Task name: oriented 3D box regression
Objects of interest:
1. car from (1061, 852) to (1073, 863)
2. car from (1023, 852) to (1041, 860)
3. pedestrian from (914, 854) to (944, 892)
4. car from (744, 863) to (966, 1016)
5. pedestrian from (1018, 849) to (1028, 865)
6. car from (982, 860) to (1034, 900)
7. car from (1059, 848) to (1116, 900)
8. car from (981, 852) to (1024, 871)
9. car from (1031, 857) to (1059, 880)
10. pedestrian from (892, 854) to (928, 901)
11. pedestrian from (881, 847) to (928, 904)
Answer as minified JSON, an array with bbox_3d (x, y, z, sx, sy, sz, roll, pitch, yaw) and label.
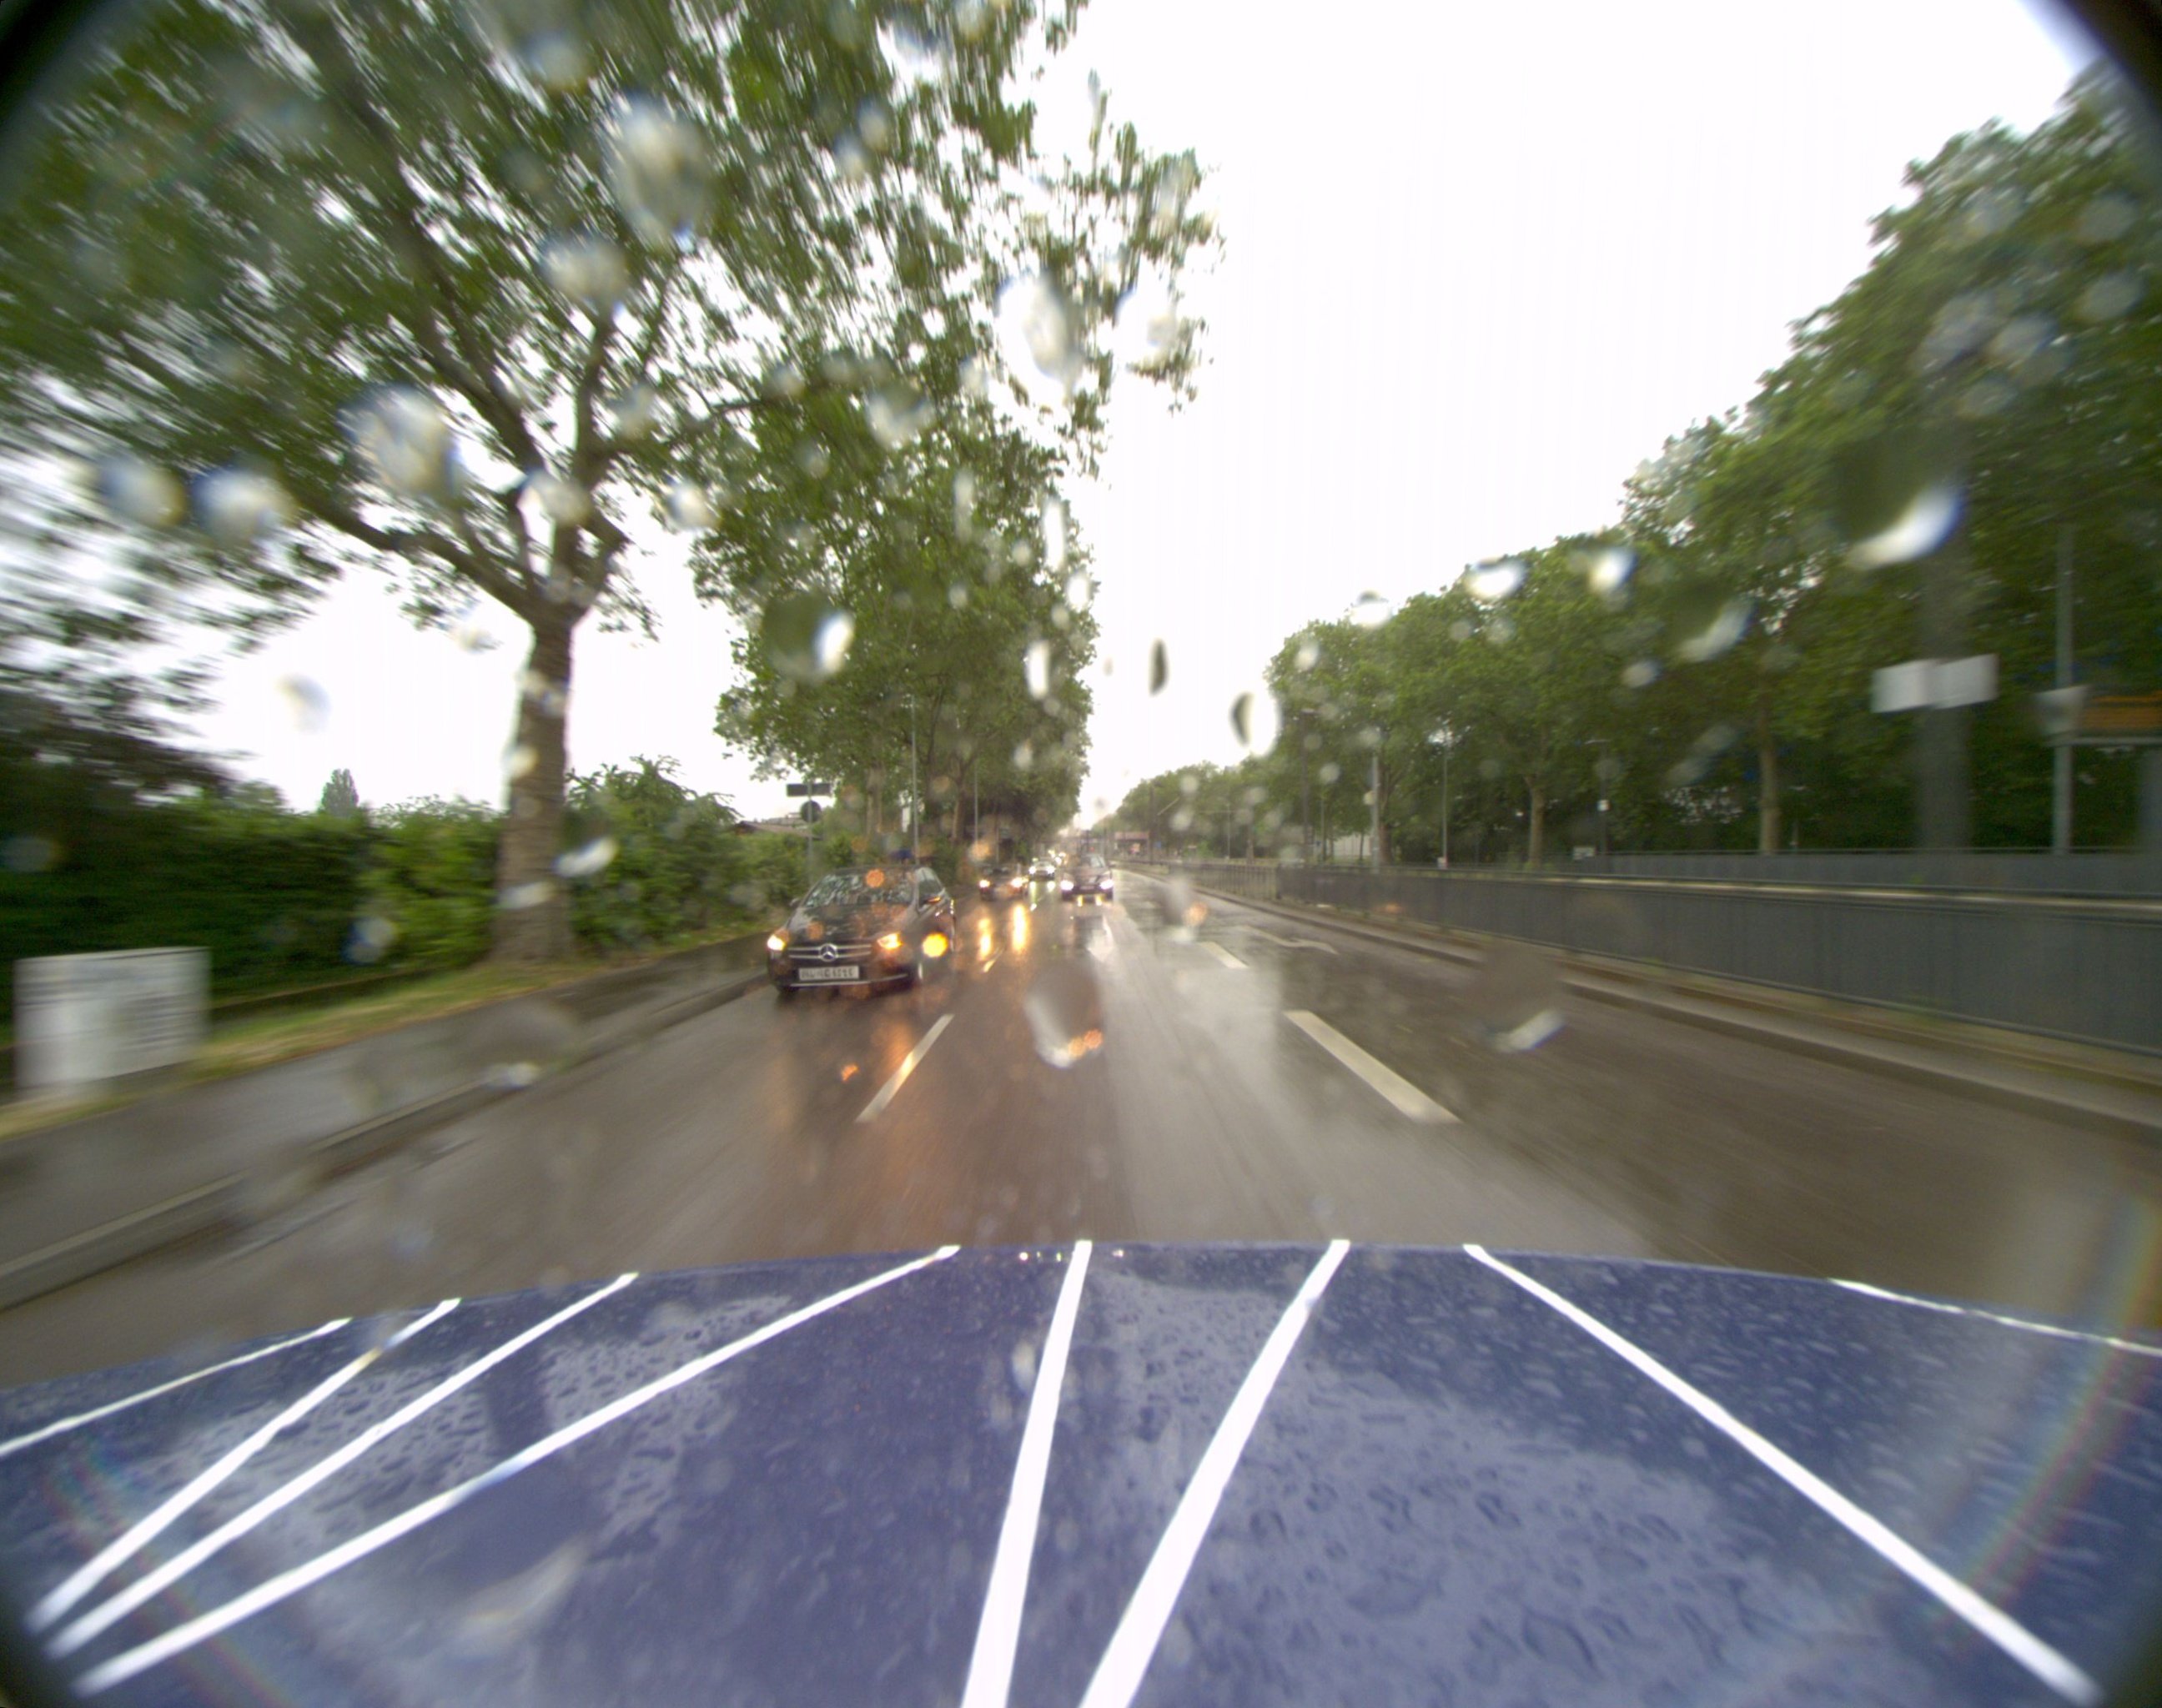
[{"bbox_3d":[-2.874,0.719,157.416,1.998,2.002,4.000,-3,1,2],"label":"car"},{"bbox_3d":[-9.273,0.428,143.557,1.611,1.423,3.546,-4,1,-43],"label":"car"},{"bbox_3d":[-5.750,0.718,28.728,0.894,1.382,1.016,1,1,1],"label":"pedestrian"},{"bbox_3d":[-2.854,0.976,10.699,1.821,1.521,4.420,-3,1,-1],"label":"car"},{"bbox_3d":[-6.516,0.345,85.206,0.969,1.692,1.140,-3,0,-1],"label":"pedestrian"},{"bbox_3d":[-2.878,0.991,30.572,1.641,1.377,3.781,-2,1,0],"label":"car"},{"bbox_3d":[0.254,0.731,29.245,1.975,1.794,4.158,-2,0,0],"label":"car"},{"bbox_3d":[-6.564,0.652,63.754,3.389,1.488,1.658,-2,-1,-2],"label":"car"},{"bbox_3d":[-2.521,0.990,53.779,1.821,1.521,4.157,-1,0,-2],"label":"car"},{"bbox_3d":[-5.874,0.785,26.174,0.949,1.580,1.293,0,1,1],"label":"pedestrian"},{"bbox_3d":[-5.642,0.684,24.363,1.243,1.775,1.147,0,1,1],"label":"pedestrian"}]
